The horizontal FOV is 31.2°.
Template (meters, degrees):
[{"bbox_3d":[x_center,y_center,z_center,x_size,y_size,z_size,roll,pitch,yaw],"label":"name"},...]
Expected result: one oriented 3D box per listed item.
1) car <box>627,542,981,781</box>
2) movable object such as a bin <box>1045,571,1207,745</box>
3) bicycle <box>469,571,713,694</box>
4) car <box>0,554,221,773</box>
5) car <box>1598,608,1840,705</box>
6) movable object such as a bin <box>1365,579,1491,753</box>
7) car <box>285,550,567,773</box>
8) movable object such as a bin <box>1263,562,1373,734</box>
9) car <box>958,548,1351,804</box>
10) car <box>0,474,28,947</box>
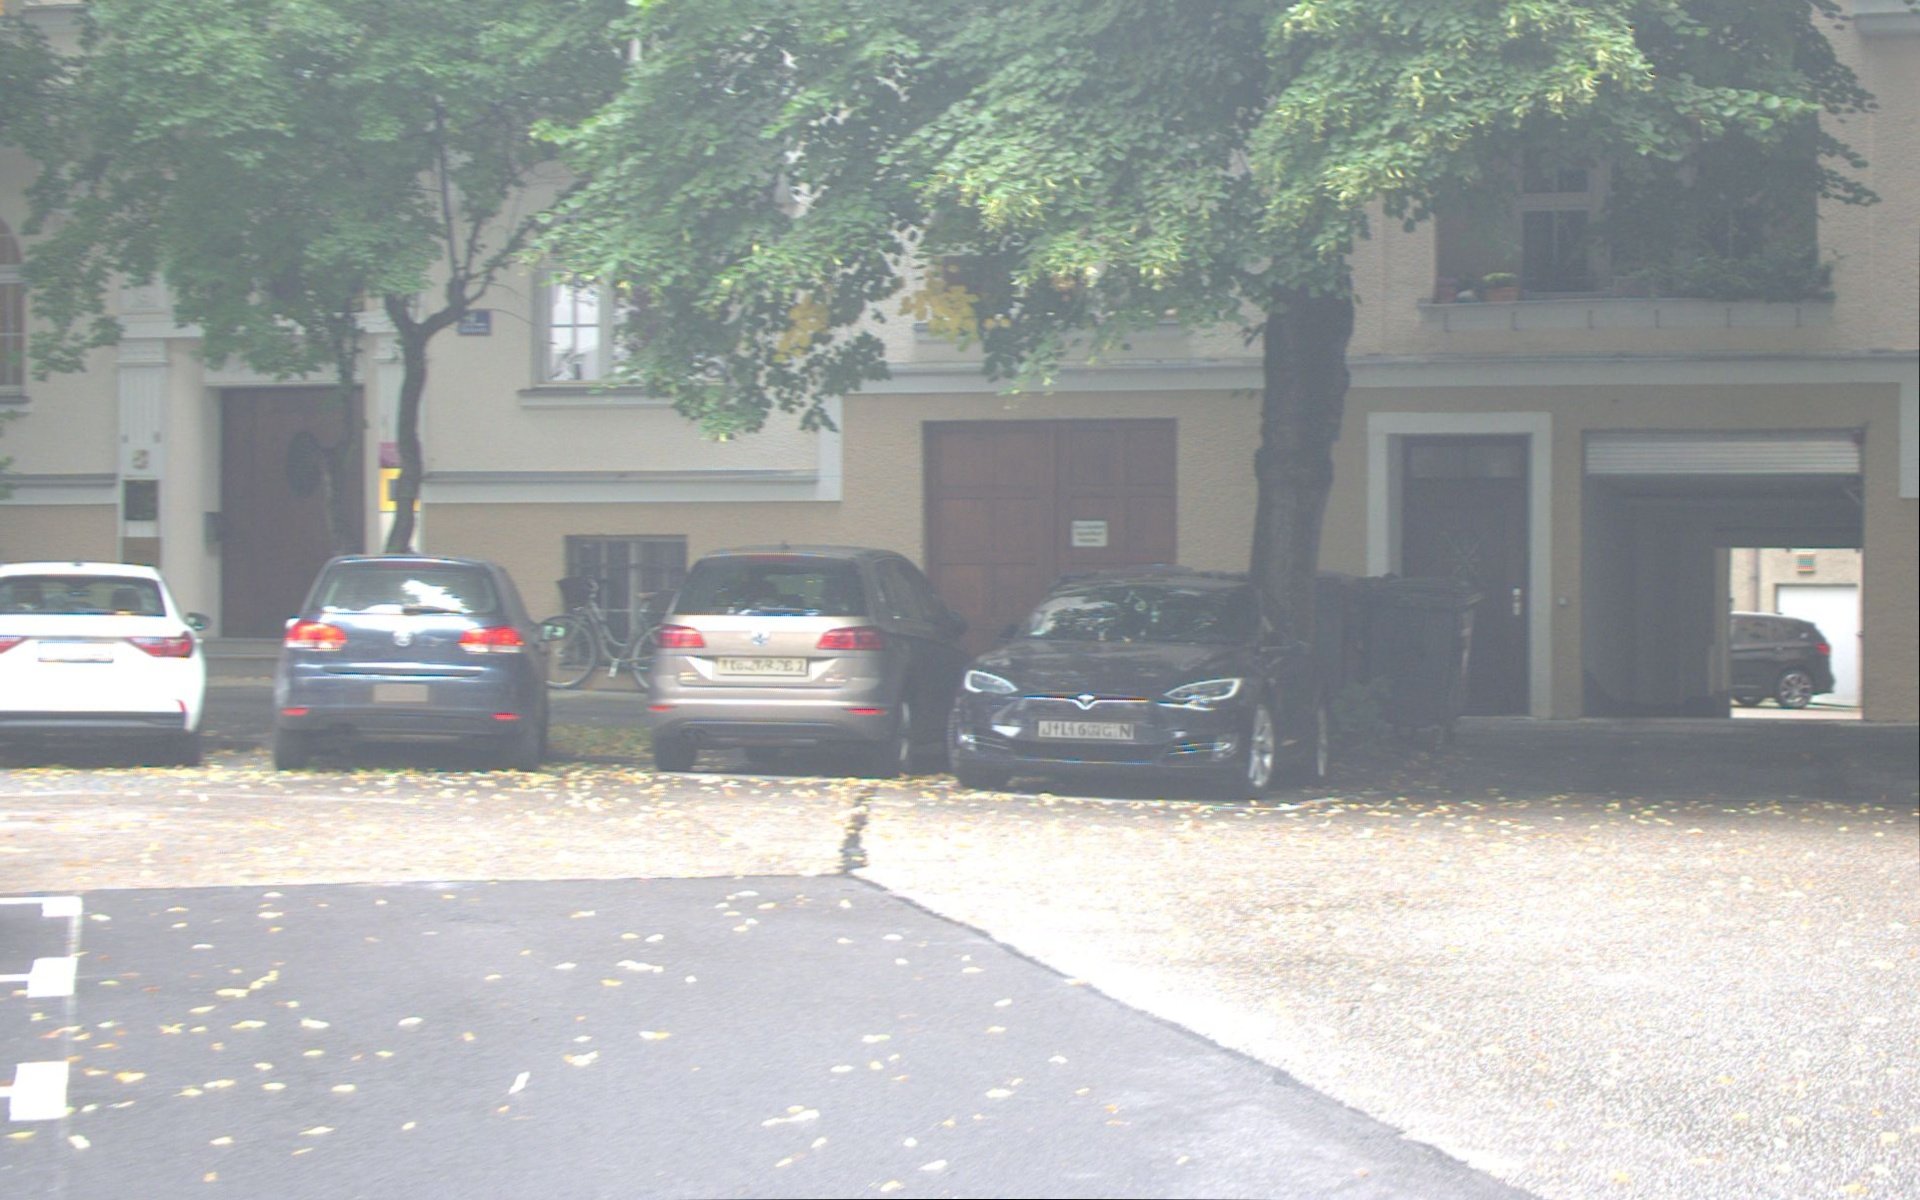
[{"bbox_3d":[-1.011,0.380,24.456,1.839,1.525,4.024,1,1,7],"label":"car"},{"bbox_3d":[1.363,0.455,28.054,1.150,1.344,1.156,1,1,11],"label":"movable object such as a bin"},{"bbox_3d":[-3.520,0.298,32.802,2.230,1.111,0.576,1,1,13],"label":"bicycle"},{"bbox_3d":[-6.242,0.399,24.788,1.718,1.426,4.001,1,1,-13],"label":"car"},{"bbox_3d":[12.825,0.947,58.276,3.846,1.513,1.656,1,1,8],"label":"car"},{"bbox_3d":[3.734,0.504,27.339,0.863,1.300,1.431,3,1,11],"label":"movable object such as a bin"},{"bbox_3d":[-3.756,0.377,24.339,1.791,1.426,4.001,1,1,-8],"label":"car"},{"bbox_3d":[2.903,0.372,27.814,0.713,1.343,1.372,1,1,12],"label":"movable object such as a bin"},{"bbox_3d":[1.391,0.507,22.673,1.705,1.462,4.285,2,-1,15],"label":"car"},{"bbox_3d":[-5.641,0.448,12.542,4.218,1.678,1.903,-2,2,-17],"label":"car"}]
